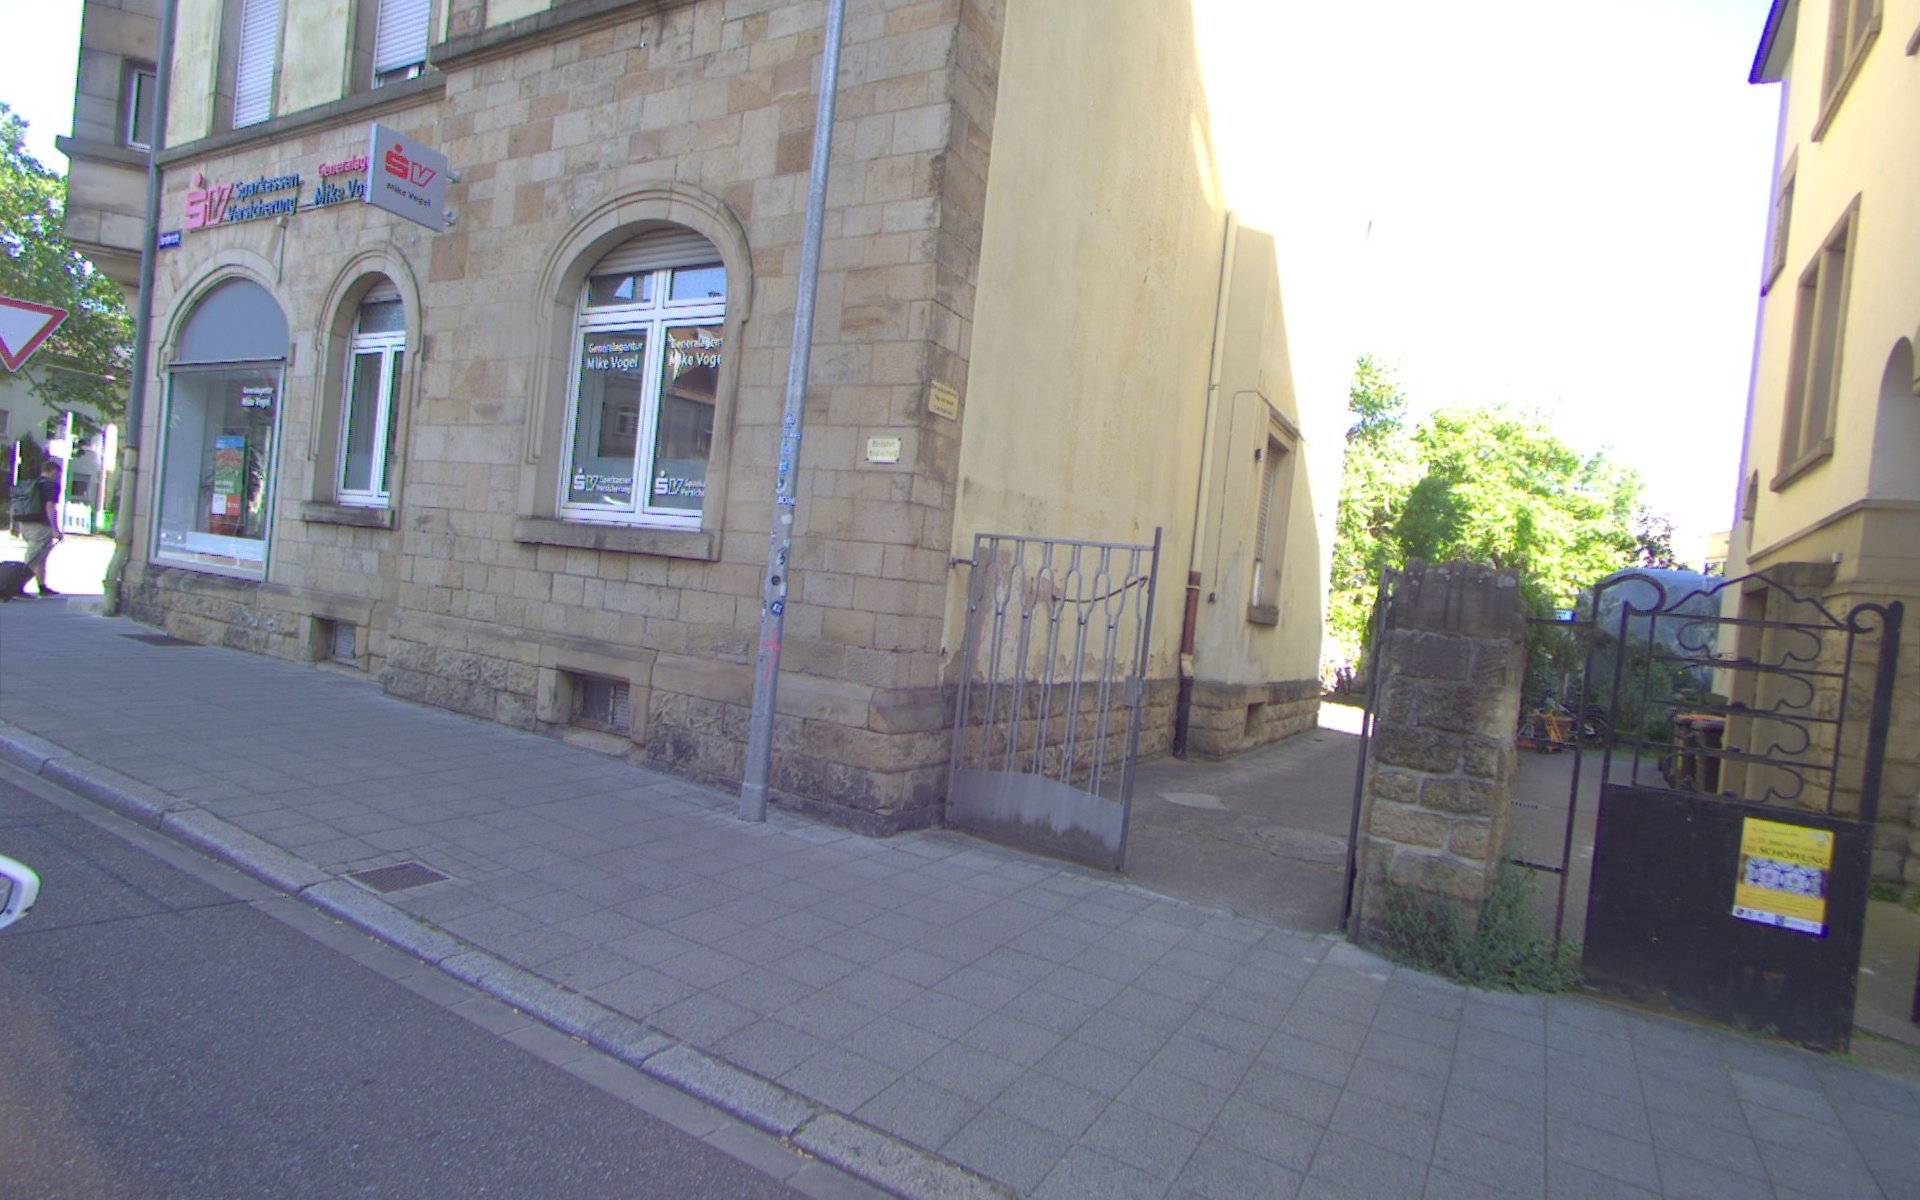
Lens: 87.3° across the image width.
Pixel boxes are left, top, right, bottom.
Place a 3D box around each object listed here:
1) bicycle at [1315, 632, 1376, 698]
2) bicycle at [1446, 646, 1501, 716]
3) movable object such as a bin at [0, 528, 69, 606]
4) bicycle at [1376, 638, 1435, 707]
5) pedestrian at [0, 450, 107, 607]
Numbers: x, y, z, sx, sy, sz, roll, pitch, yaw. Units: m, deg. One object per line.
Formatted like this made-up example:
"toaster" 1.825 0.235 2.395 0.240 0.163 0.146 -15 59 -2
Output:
"bicycle" 9.978 1.641 25.966 0.904 1.532 2.667 6 2 31
"bicycle" 12.597 1.935 24.635 0.904 1.532 2.667 6 2 31
"movable object such as a bin" -11.739 -0.413 12.467 0.500 0.903 0.864 7 1 19
"bicycle" 11.212 1.776 25.249 0.904 1.532 2.667 6 2 31
"pedestrian" -11.954 -0.915 12.986 0.735 1.871 1.069 7 0 19
